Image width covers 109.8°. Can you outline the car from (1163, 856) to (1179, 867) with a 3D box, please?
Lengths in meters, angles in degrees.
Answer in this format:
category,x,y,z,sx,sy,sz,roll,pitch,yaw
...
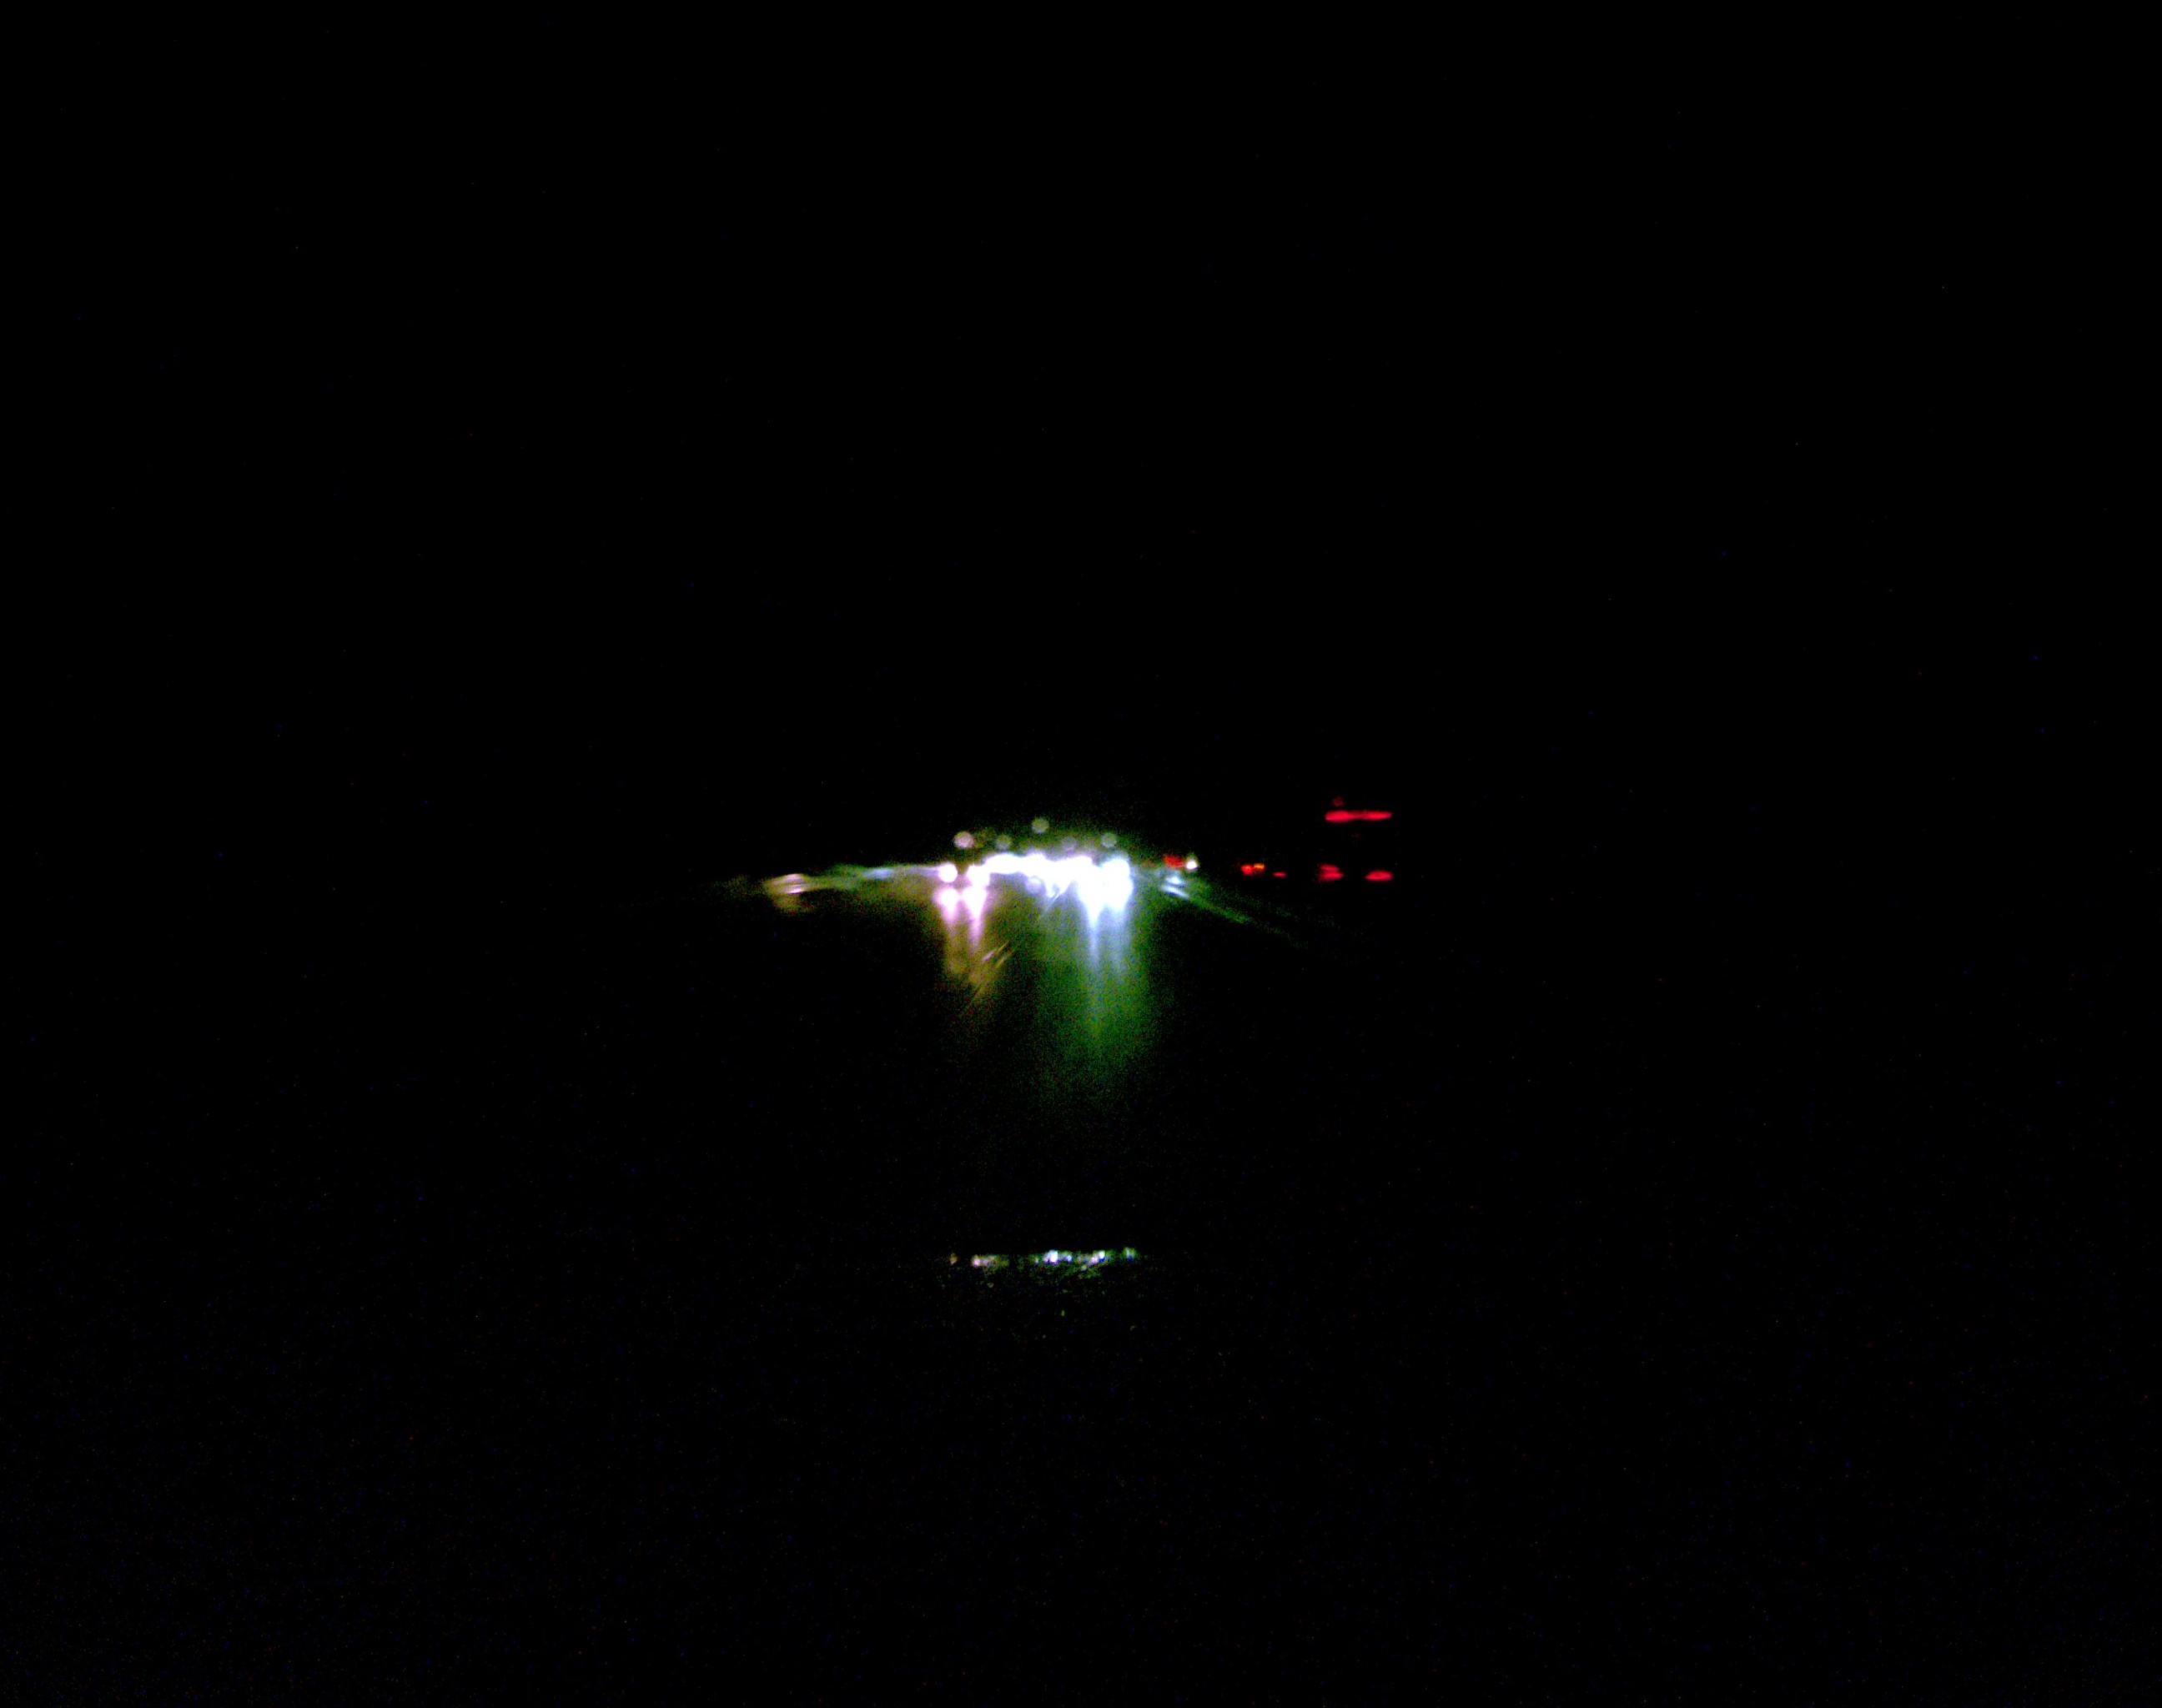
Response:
category,x,y,z,sx,sy,sz,roll,pitch,yaw
car,15.209,1.236,129.069,1.999,1.763,4.958,0,1,-1

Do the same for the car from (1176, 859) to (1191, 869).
category,x,y,z,sx,sy,sz,roll,pitch,yaw
car,18.639,1.750,138.351,1.999,1.763,4.958,0,1,-1

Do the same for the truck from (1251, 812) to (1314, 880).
category,x,y,z,sx,sy,sz,roll,pitch,yaw
truck,13.707,-0.517,52.188,2.697,4.356,5.734,-2,0,0

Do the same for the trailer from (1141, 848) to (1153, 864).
category,x,y,z,sx,sy,sz,roll,pitch,yaw
trailer,19.755,0.598,228.988,2.411,4.795,10.170,-3,0,-1

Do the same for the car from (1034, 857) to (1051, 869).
category,x,y,z,sx,sy,sz,roll,pitch,yaw
car,-5.557,1.315,109.317,1.882,1.654,4.002,-3,-1,4

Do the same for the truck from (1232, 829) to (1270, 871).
category,x,y,z,sx,sy,sz,roll,pitch,yaw
truck,18.128,-0.408,81.127,2.697,4.197,5.734,-2,0,1

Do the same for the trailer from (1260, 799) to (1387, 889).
category,x,y,z,sx,sy,sz,roll,pitch,yaw
trailer,13.709,-0.519,44.887,2.697,4.352,14.630,-2,0,0

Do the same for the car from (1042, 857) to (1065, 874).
category,x,y,z,sx,sy,sz,roll,pitch,yaw
car,-2.811,1.152,77.762,1.882,1.654,4.002,-3,-1,4

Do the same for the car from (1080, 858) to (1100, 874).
category,x,y,z,sx,sy,sz,roll,pitch,yaw
car,1.034,1.376,85.677,1.883,1.654,4.001,-3,-1,4

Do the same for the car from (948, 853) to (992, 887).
category,x,y,z,sx,sy,sz,roll,pitch,yaw
car,-6.633,0.950,45.721,1.832,1.835,4.699,-3,-1,0

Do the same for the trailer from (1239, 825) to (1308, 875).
category,x,y,z,sx,sy,sz,roll,pitch,yaw
trailer,18.016,-0.381,72.540,2.697,4.196,15.643,-2,0,1

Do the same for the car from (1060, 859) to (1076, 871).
category,x,y,z,sx,sy,sz,roll,pitch,yaw
car,-1.886,1.638,110.164,1.883,1.654,4.001,-3,-1,3

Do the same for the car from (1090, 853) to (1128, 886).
category,x,y,z,sx,sy,sz,roll,pitch,yaw
car,1.607,0.840,42.342,1.882,1.654,4.002,-3,-1,4
